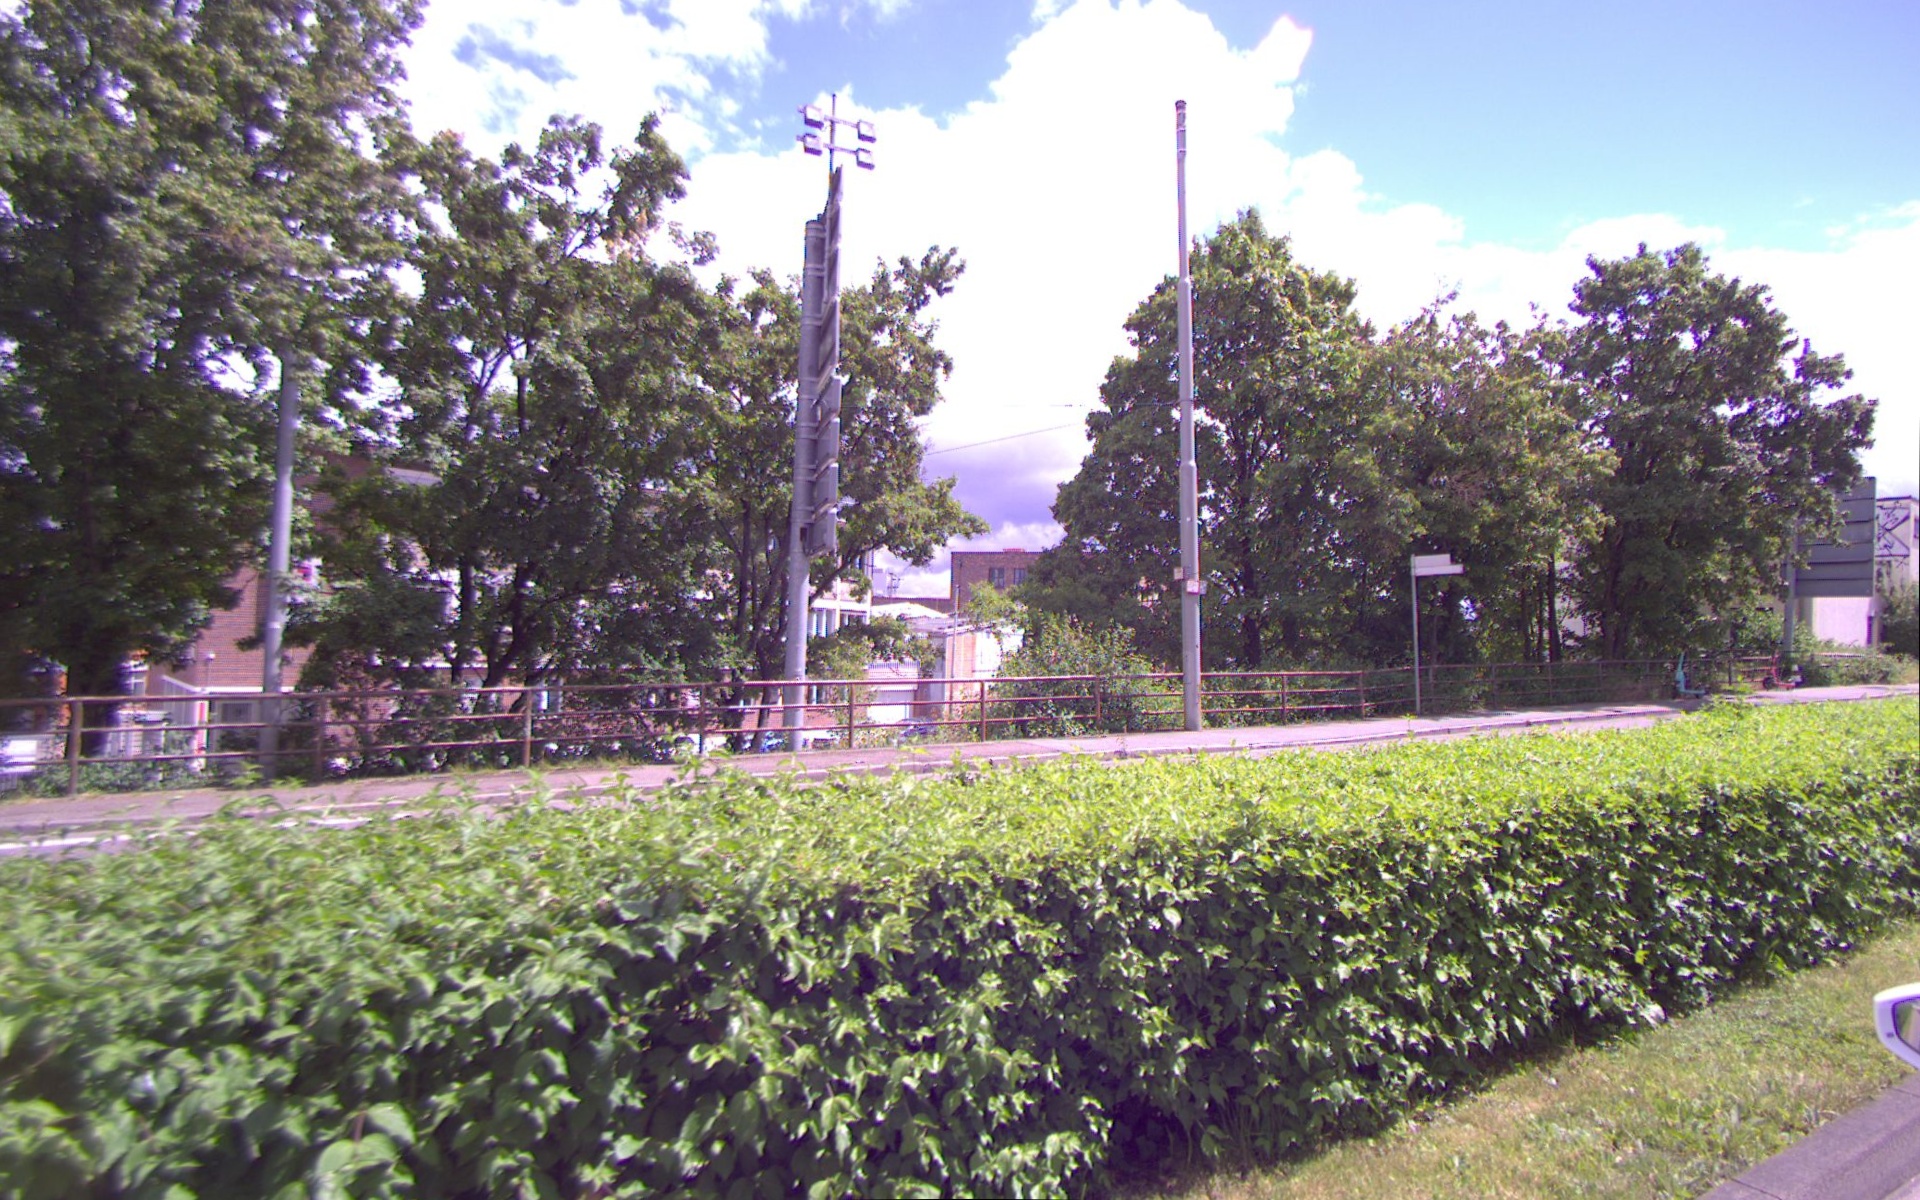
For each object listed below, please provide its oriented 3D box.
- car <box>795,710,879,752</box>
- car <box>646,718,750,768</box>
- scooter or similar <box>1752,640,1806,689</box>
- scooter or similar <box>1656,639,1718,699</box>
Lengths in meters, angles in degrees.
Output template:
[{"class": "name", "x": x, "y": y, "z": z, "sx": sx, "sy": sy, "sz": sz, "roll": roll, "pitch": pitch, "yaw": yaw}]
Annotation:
[{"class": "car", "x": -5.643, "y": 5.979, "z": 46.307, "sx": 1.693, "sy": 1.547, "sz": 3.746, "roll": -2, "pitch": -3, "yaw": 38}, {"class": "car", "x": -10.342, "y": 5.611, "z": 39.861, "sx": 1.694, "sy": 1.547, "sz": 3.746, "roll": -2, "pitch": -3, "yaw": 39}, {"class": "scooter or similar", "x": 21.035, "y": 1.639, "z": 25.796, "sx": 1.623, "sy": 1.232, "sz": 0.489, "roll": 1, "pitch": -2, "yaw": -29}, {"class": "scooter or similar", "x": 16.613, "y": 1.555, "z": 22.937, "sx": 1.623, "sy": 1.322, "sz": 0.489, "roll": 1, "pitch": 0, "yaw": -29}]
